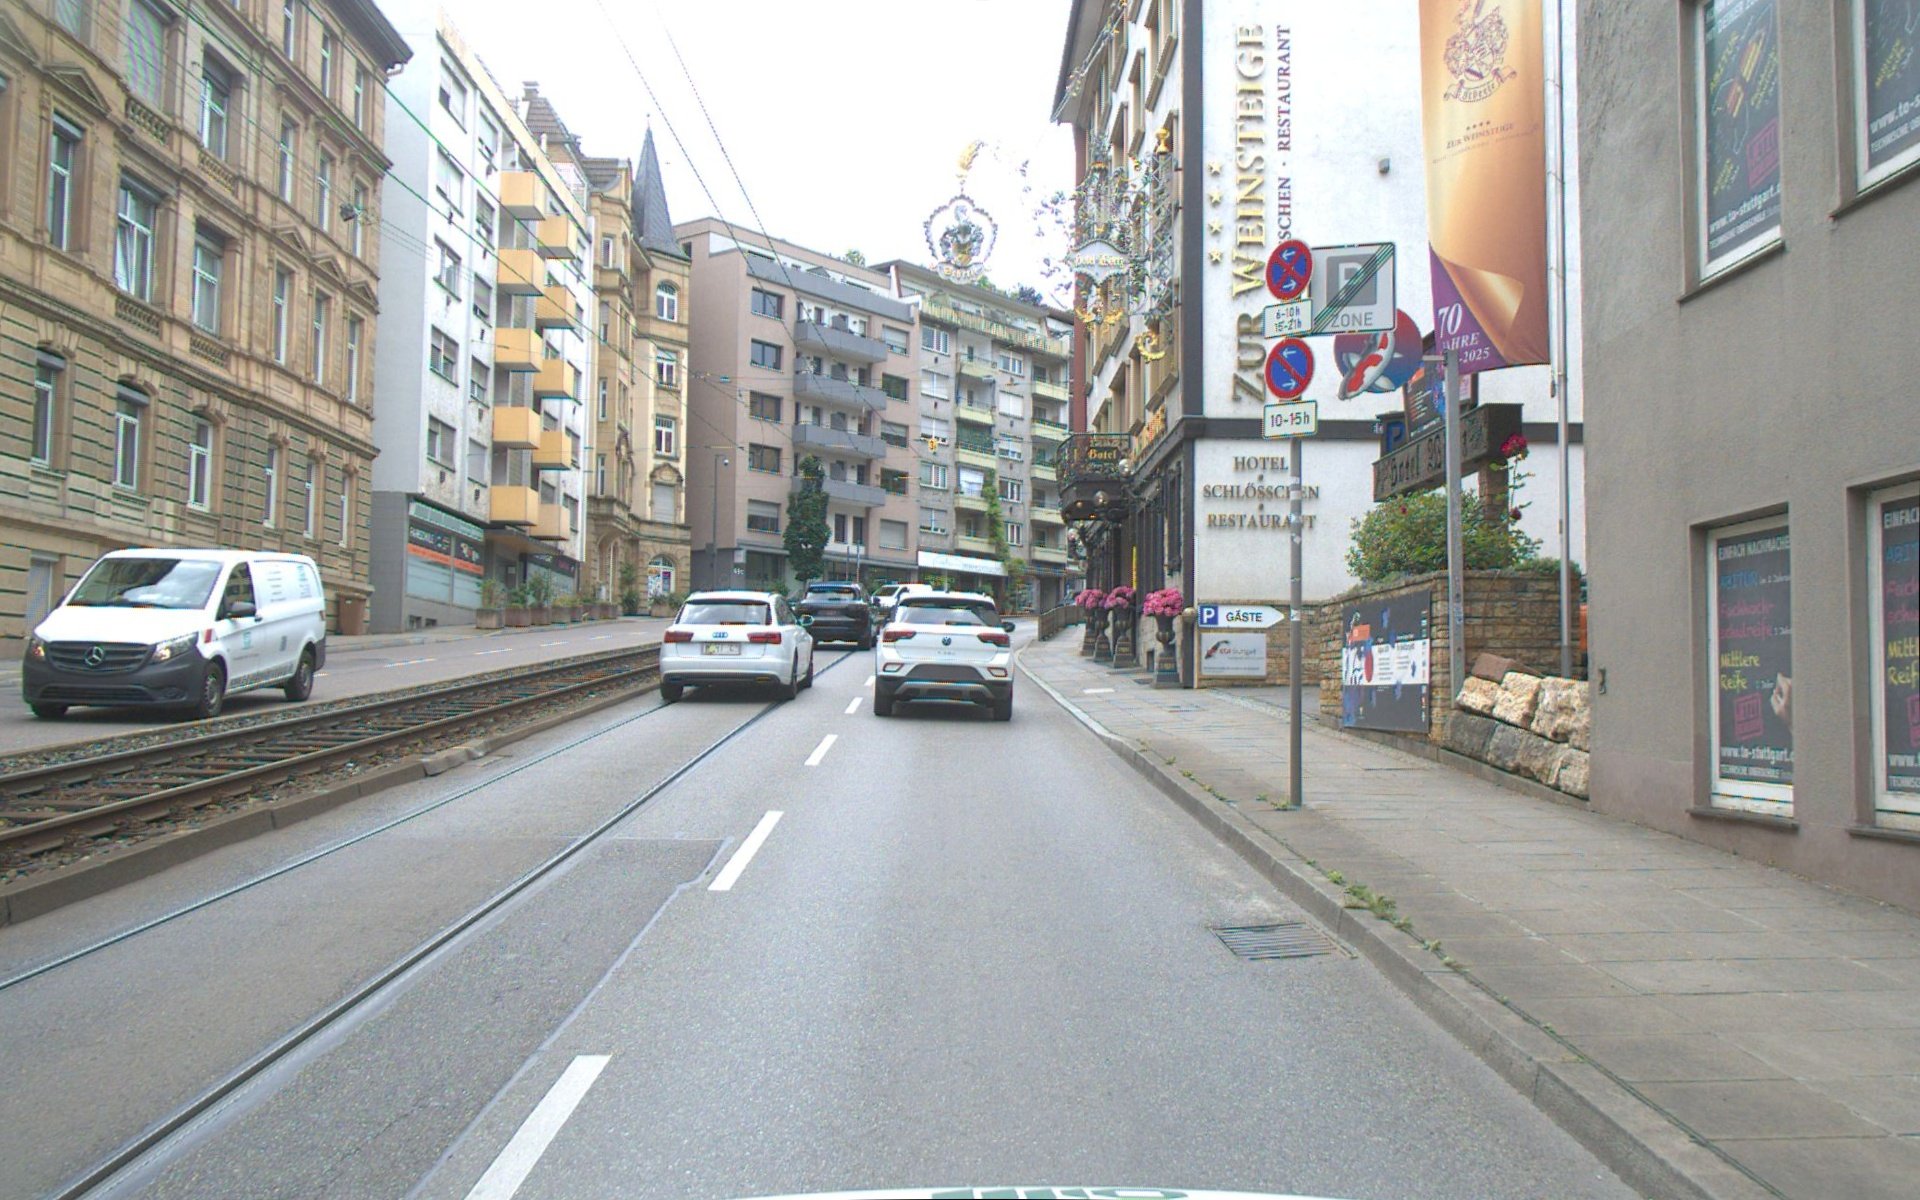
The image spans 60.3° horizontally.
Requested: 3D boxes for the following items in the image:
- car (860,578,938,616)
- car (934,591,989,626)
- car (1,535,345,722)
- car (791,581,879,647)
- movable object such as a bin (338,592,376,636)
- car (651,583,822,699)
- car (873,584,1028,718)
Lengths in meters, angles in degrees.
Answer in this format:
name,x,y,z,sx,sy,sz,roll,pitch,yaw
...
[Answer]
name,x,y,z,sx,sy,sz,roll,pitch,yaw
car,-3.444,-0.172,94.429,1.961,2.071,4.682,1,0,37
car,0.116,0.491,96.273,1.864,1.956,4.437,1,0,19
car,-9.216,0.281,19.968,1.918,1.933,5.314,1,0,-4
car,-3.147,0.325,42.377,1.996,1.599,4.357,1,0,-1
movable object such as a bin,-15.293,0.349,41.937,0.754,1.092,0.561,1,0,-1
car,-3.086,0.520,23.746,1.840,1.480,4.617,1,0,-1
car,-0.130,0.599,21.872,1.840,1.582,4.000,1,0,0
